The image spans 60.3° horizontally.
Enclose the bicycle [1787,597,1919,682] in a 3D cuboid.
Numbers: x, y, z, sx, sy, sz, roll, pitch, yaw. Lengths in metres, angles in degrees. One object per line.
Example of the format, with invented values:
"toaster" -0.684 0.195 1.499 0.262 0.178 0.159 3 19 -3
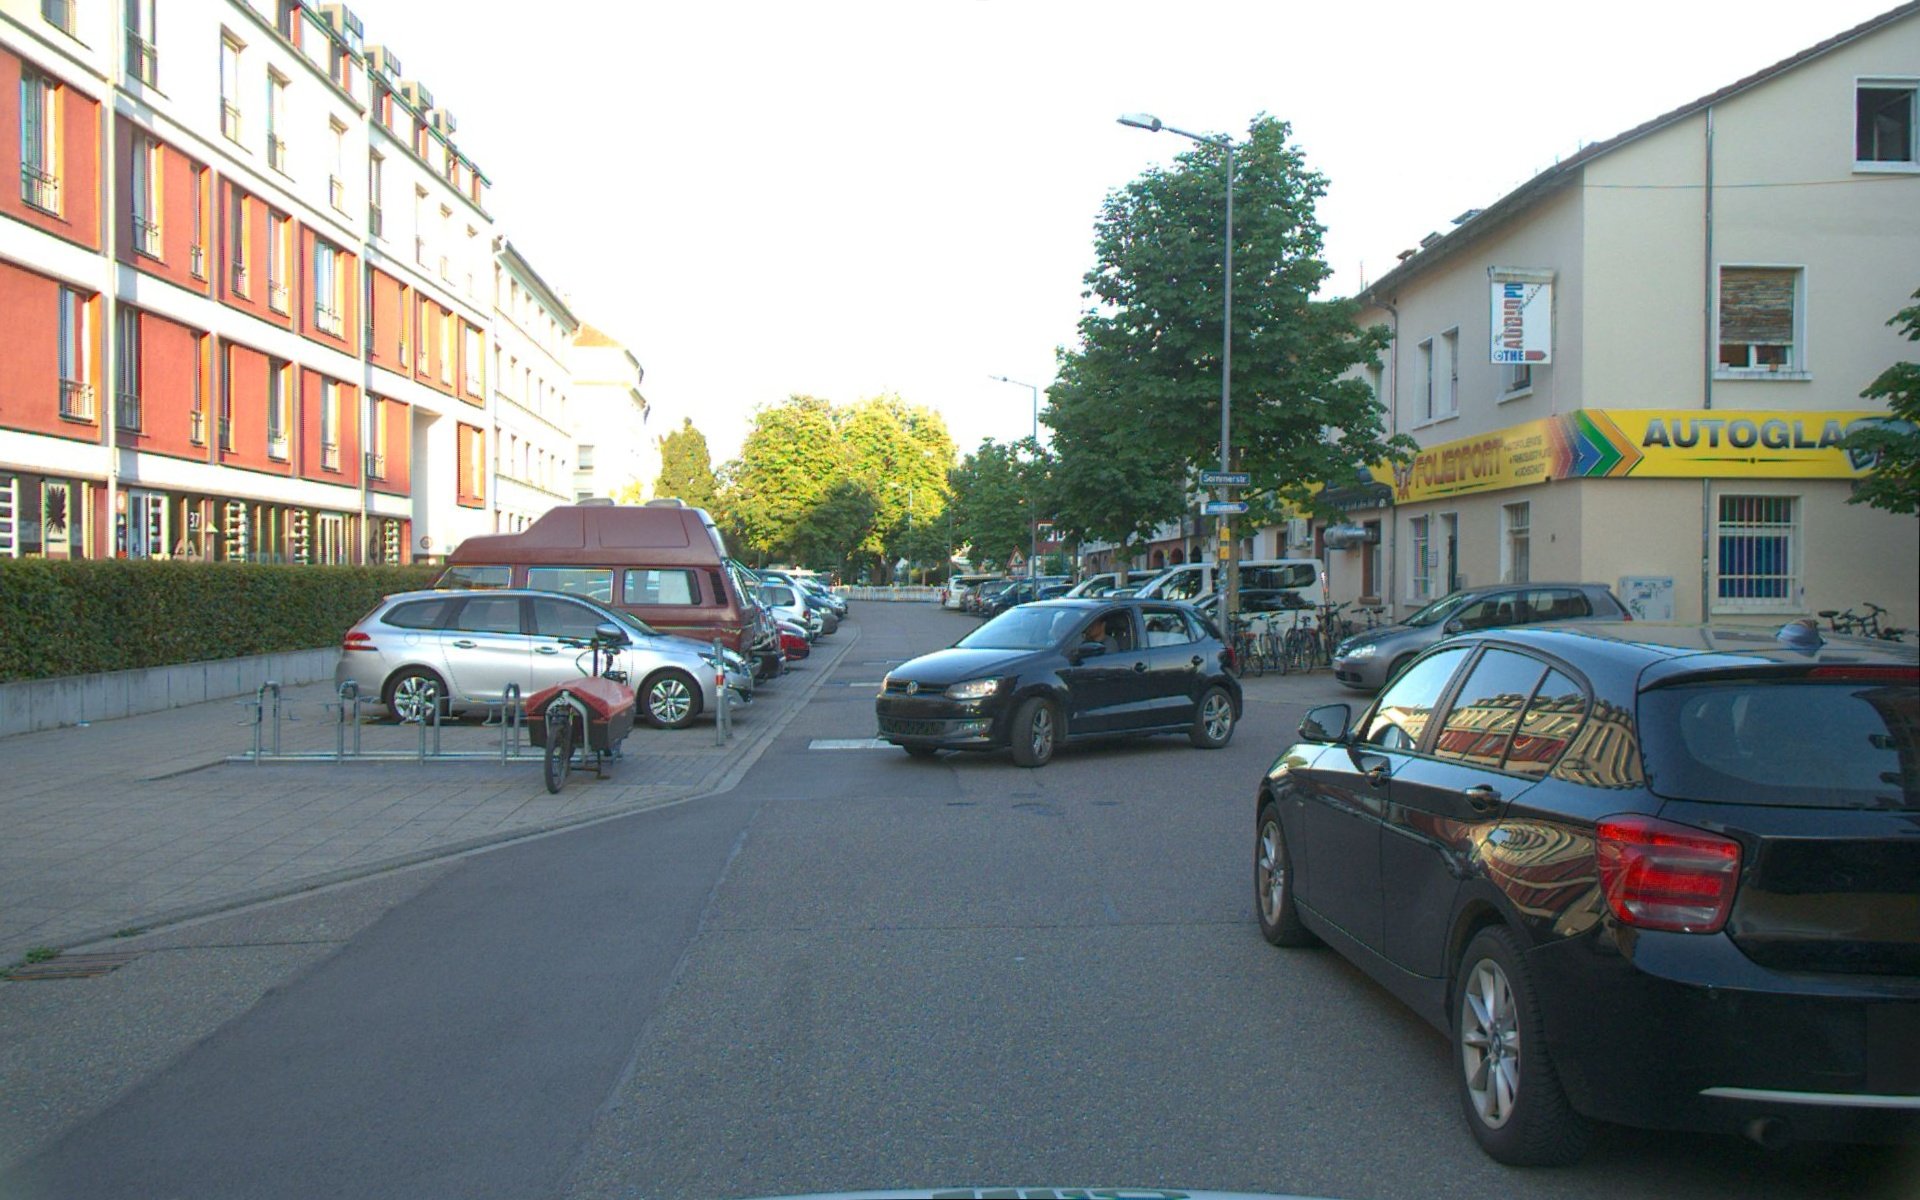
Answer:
"bicycle" 12.939 0.569 23.846 1.822 1.169 0.343 1 2 -1

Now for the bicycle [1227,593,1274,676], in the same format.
"bicycle" 4.899 0.561 27.995 0.378 1.327 2.017 -1 1 -1

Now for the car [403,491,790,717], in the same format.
"car" -4.510 0.040 21.080 4.419 2.629 2.000 2 0 0

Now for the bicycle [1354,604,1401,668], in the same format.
"bicycle" 7.051 0.593 27.987 0.380 1.035 1.481 -1 0 -1

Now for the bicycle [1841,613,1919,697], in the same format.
"bicycle" 12.476 0.733 21.746 1.570 1.059 0.343 1 2 -1

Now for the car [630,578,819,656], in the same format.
"car" -5.510 0.375 39.124 4.171 1.689 1.999 2 0 -2

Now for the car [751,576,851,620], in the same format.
"car" -6.892 -0.077 71.932 4.171 1.780 1.999 2 0 -2

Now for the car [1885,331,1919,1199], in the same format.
"car" 2.526 0.566 0.190 1.855 1.917 5.080 1 0 -2

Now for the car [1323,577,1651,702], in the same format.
"car" 7.197 0.511 22.835 3.968 1.540 1.756 -1 2 -1

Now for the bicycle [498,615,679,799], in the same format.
"bicycle" -2.898 0.780 13.255 0.791 1.242 2.865 1 0 0

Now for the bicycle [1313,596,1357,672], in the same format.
"bicycle" 6.303 0.550 27.838 0.346 1.221 1.481 -1 0 -1

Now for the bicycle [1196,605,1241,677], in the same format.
"bicycle" 4.364 0.671 27.984 0.378 1.133 2.017 -1 1 -1

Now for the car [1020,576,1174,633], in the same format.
"car" 4.510 0.133 55.014 4.846 1.718 2.076 -2 0 -4

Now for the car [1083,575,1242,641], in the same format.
"car" 5.209 0.197 42.899 3.832 1.552 1.939 -2 0 -1

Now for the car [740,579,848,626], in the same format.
"car" -6.696 0.097 67.098 4.171 1.744 1.999 2 0 -2

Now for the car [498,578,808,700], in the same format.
"car" -4.293 0.534 23.657 4.126 1.565 1.790 2 0 -4

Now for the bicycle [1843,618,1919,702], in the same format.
"bicycle" 12.369 0.777 21.216 1.812 1.027 0.428 1 3 -1

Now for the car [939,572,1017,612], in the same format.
"car" 0.950 -0.428 87.981 3.892 1.945 2.046 -2 0 -7

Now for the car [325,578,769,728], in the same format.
"car" -4.470 0.566 18.505 4.526 1.485 1.879 2 0 -5

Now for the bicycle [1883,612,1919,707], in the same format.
"bicycle" 12.484 0.737 20.580 1.883 1.148 0.427 1 1 -10

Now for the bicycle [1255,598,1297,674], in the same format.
"bicycle" 5.316 0.589 27.851 0.378 1.221 1.481 -1 0 -1

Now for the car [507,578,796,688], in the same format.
"car" -4.822 0.488 26.208 4.121 1.565 1.843 2 0 4

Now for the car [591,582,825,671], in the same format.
"car" -4.690 0.480 31.255 4.124 1.516 1.849 2 0 -1

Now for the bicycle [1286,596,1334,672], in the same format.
"bicycle" 5.882 0.555 27.835 0.436 1.221 1.481 -1 0 -1

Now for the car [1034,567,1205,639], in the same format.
"car" 4.770 0.080 49.988 4.846 1.992 2.048 -2 0 -4

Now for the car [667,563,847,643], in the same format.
"car" -5.605 0.066 46.032 4.753 2.056 1.906 2 0 -2

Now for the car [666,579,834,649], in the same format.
"car" -5.461 0.361 43.482 4.171 1.681 1.887 2 0 -2

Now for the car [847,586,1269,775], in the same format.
"car" 0.991 0.632 15.258 3.907 1.480 1.632 -1 1 -42

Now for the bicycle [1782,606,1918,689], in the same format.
"bicycle" 12.352 0.659 22.957 1.696 1.088 0.343 1 2 -3

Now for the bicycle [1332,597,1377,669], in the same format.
"bicycle" 6.655 0.548 27.930 0.346 1.163 1.481 -1 0 -1

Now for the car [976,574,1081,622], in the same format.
"car" 2.987 -0.101 72.577 4.393 1.945 1.685 -2 0 -7

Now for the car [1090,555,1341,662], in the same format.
"car" 5.309 0.169 34.923 4.889 2.018 2.219 -2 0 -1

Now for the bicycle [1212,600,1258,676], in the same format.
"bicycle" 4.643 0.623 27.978 0.378 1.221 2.017 -1 1 -1

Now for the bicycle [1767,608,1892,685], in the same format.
"bicycle" 12.245 0.653 23.302 1.570 1.037 0.343 1 2 -3

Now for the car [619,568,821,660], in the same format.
"car" -5.254 0.287 36.658 4.171 1.868 1.999 2 0 -2

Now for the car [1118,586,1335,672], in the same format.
"car" 5.128 0.535 32.132 3.841 1.476 1.767 -2 1 -4

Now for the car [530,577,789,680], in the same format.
"car" -5.084 0.464 28.460 4.126 1.603 1.999 2 0 -4

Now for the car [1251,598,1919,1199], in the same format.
"car" 2.284 0.756 5.623 1.687 1.449 4.252 1 0 -2

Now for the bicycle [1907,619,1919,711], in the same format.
"bicycle" 12.512 0.808 20.135 1.816 1.093 0.427 1 3 -10

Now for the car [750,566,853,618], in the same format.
"car" -7.110 -0.367 74.495 4.442 2.171 1.999 2 0 -2

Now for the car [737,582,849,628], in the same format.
"car" -6.449 0.173 64.364 4.171 1.650 1.999 2 0 -3

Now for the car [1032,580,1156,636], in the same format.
"car" 4.829 0.275 59.926 4.231 1.835 1.810 -2 0 -4
